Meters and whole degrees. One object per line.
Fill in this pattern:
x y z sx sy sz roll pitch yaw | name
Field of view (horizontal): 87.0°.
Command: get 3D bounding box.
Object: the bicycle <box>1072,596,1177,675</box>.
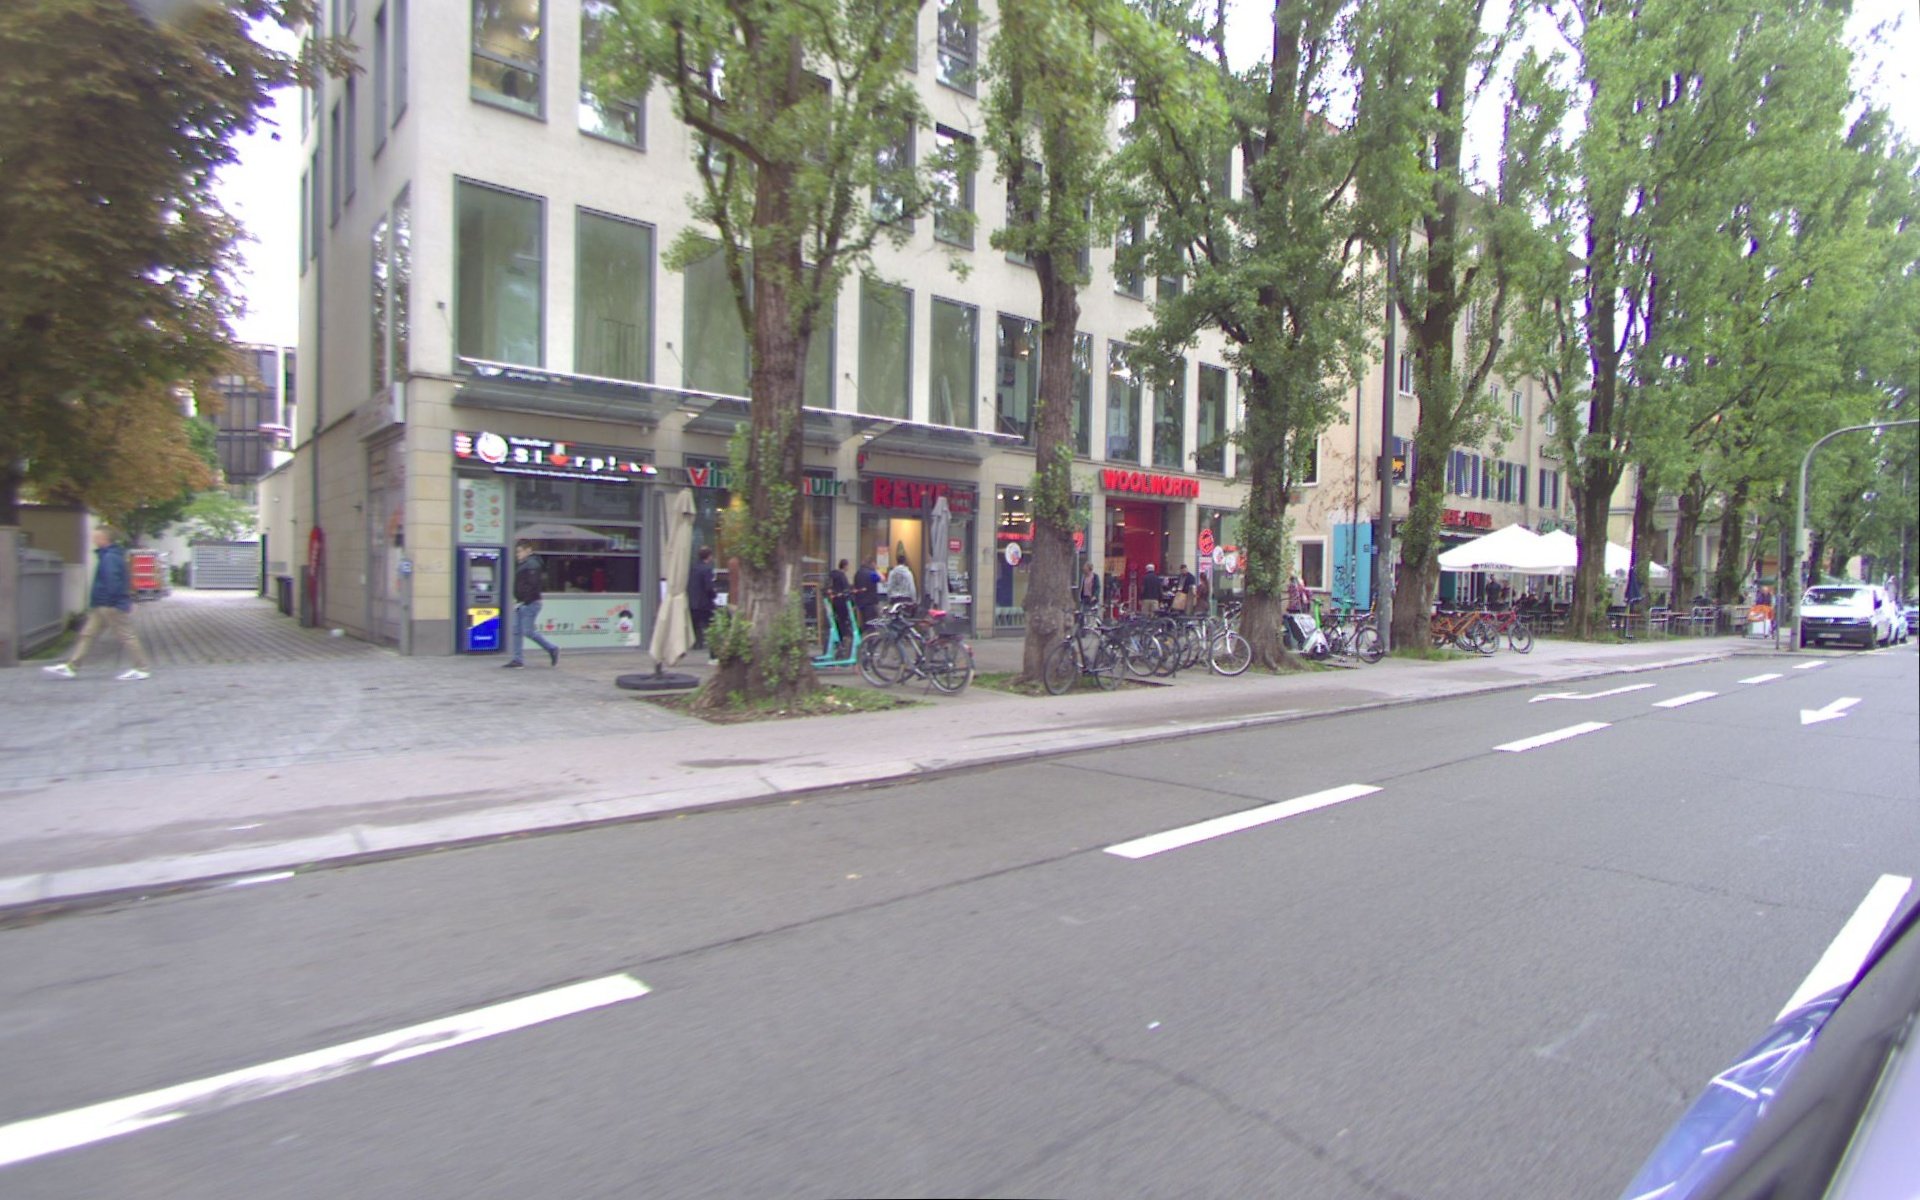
2.549 0.529 15.775 1.669 1.131 0.282 2 1 38 | bicycle

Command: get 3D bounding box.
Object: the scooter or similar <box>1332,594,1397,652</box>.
8.434 0.478 21.121 1.221 1.184 0.286 0 0 2 | scooter or similar

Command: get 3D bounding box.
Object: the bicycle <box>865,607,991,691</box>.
-0.451 0.614 13.275 1.997 0.957 0.282 2 2 42 | bicycle

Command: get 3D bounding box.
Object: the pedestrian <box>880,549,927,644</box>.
-1.127 -0.080 20.183 0.680 1.842 0.622 0 1 -42 | pedestrian

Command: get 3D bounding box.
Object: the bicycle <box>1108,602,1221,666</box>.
3.500 0.557 17.481 1.997 1.000 0.387 2 1 42 | bicycle

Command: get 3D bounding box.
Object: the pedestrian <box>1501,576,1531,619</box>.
20.675 -0.096 37.635 0.858 1.597 0.696 0 0 -40 | pedestrian

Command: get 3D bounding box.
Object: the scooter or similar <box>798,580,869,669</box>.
-1.887 0.354 15.147 1.018 1.289 0.331 0 1 -41 | scooter or similar

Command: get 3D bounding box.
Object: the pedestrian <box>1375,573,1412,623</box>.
14.304 -0.069 33.412 0.998 1.624 0.764 0 0 -40 | pedestrian

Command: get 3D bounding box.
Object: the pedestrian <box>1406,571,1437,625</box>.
14.528 -0.079 31.869 0.680 1.685 0.667 0 0 -41 | pedestrian

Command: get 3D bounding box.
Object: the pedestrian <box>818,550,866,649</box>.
-2.190 -0.024 18.824 0.662 1.807 0.566 0 1 -39 | pedestrian

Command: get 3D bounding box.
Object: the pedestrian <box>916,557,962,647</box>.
-0.416 0.028 19.991 0.652 1.731 0.685 2 1 25 | pedestrian

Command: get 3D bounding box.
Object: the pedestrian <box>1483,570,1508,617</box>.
20.184 -0.245 38.150 0.669 1.741 0.629 0 0 -40 | pedestrian

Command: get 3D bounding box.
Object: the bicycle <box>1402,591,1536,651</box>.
11.636 0.443 23.229 0.948 1.230 2.577 0 2 -40 | bicycle

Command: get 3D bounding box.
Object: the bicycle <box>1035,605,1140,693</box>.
1.777 0.628 13.821 0.433 1.074 1.977 2 2 39 | bicycle

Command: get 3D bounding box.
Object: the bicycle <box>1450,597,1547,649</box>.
12.741 0.518 24.003 0.674 1.141 1.902 0 2 -40 | bicycle

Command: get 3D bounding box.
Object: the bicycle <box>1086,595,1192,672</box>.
2.820 0.515 16.076 1.657 1.121 0.391 2 1 39 | bicycle

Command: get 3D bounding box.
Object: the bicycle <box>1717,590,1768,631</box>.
28.101 0.345 36.392 0.819 1.429 2.579 1 1 23 | bicycle

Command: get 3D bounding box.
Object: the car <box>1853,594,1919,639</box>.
31.887 0.526 34.654 3.421 1.414 1.475 0 2 -40 | car

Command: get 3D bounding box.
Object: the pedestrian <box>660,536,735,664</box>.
-3.970 -0.008 15.298 0.889 1.874 0.658 0 1 -39 | pedestrian

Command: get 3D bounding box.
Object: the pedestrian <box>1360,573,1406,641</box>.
10.446 0.170 24.988 0.779 1.608 0.711 0 3 -40 | pedestrian

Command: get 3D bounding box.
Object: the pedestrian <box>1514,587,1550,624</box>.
19.894 0.183 35.191 1.004 1.231 0.775 0 0 -37 | pedestrian

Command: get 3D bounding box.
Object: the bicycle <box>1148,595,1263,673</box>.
3.981 0.523 16.510 1.864 1.149 0.335 2 2 42 | bicycle

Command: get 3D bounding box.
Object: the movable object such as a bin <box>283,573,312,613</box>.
-18.059 -0.186 27.585 0.586 1.063 0.612 0 1 -40 | movable object such as a bin

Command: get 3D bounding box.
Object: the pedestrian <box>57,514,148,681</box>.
-9.831 -0.036 11.633 0.742 1.837 0.745 0 1 -37 | pedestrian

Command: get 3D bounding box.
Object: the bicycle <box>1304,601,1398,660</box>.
7.608 0.572 19.779 0.385 1.021 1.848 1 3 -31 | bicycle

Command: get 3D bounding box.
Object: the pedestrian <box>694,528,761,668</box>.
-3.403 -0.039 14.827 0.709 1.995 0.658 1 1 -38 | pedestrian

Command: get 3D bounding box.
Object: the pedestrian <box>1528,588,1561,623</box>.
20.725 0.189 35.872 1.004 1.231 0.668 0 0 -37 | pedestrian

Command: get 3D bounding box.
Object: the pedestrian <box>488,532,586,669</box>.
-5.925 -0.015 14.202 0.805 1.837 0.971 1 1 28 | pedestrian

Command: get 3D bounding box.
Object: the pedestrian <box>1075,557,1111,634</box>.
3.157 -0.106 24.009 0.630 1.790 0.547 0 0 -39 | pedestrian

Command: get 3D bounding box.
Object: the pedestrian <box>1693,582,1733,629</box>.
29.073 0.219 39.089 0.819 1.788 0.945 1 0 -3 | pedestrian

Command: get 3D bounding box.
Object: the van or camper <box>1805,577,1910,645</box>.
27.736 0.301 31.228 4.485 1.929 1.794 0 1 -40 | van or camper

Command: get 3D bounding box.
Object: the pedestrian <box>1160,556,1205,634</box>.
5.523 -0.129 25.117 0.806 1.877 0.753 0 0 -39 | pedestrian

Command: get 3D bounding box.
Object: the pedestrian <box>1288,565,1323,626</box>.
8.928 -0.118 26.169 0.684 1.539 0.566 0 0 -38 | pedestrian

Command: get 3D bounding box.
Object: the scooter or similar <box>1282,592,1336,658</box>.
6.674 0.461 19.405 0.395 1.184 1.247 0 2 -11 | scooter or similar

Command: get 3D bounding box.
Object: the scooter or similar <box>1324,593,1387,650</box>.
8.393 0.452 21.483 1.220 1.184 0.307 0 0 -1 | scooter or similar

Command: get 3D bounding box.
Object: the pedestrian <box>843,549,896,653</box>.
-1.616 0.000 18.020 0.662 1.807 0.658 0 1 -39 | pedestrian

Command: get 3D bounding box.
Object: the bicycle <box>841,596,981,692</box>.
-0.653 0.526 12.828 1.991 1.096 0.282 2 1 34 | bicycle

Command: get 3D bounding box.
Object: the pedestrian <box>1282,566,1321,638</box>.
8.009 0.039 23.715 0.737 1.669 0.548 0 0 -38 | pedestrian

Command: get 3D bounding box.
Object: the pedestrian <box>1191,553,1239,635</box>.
6.064 -0.151 24.074 0.806 1.893 0.754 0 1 -38 | pedestrian

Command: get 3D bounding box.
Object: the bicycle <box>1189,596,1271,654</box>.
5.301 0.475 19.810 1.968 1.076 0.393 0 2 -37 | bicycle

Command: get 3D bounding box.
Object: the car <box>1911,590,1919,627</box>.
41.893 0.375 43.191 3.538 1.546 1.475 0 1 -40 | car

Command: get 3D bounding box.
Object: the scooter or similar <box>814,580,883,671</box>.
-1.624 0.357 14.809 1.018 1.289 0.247 0 1 -41 | scooter or similar

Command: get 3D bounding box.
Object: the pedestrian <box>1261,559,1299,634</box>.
7.686 -0.086 24.309 0.684 1.764 0.566 0 0 -38 | pedestrian

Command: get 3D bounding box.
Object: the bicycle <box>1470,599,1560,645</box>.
13.445 0.522 24.576 0.494 1.022 1.843 0 2 -40 | bicycle

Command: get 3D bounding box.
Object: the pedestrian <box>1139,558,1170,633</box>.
4.758 -0.118 24.753 0.589 1.790 0.636 1 0 25 | pedestrian
